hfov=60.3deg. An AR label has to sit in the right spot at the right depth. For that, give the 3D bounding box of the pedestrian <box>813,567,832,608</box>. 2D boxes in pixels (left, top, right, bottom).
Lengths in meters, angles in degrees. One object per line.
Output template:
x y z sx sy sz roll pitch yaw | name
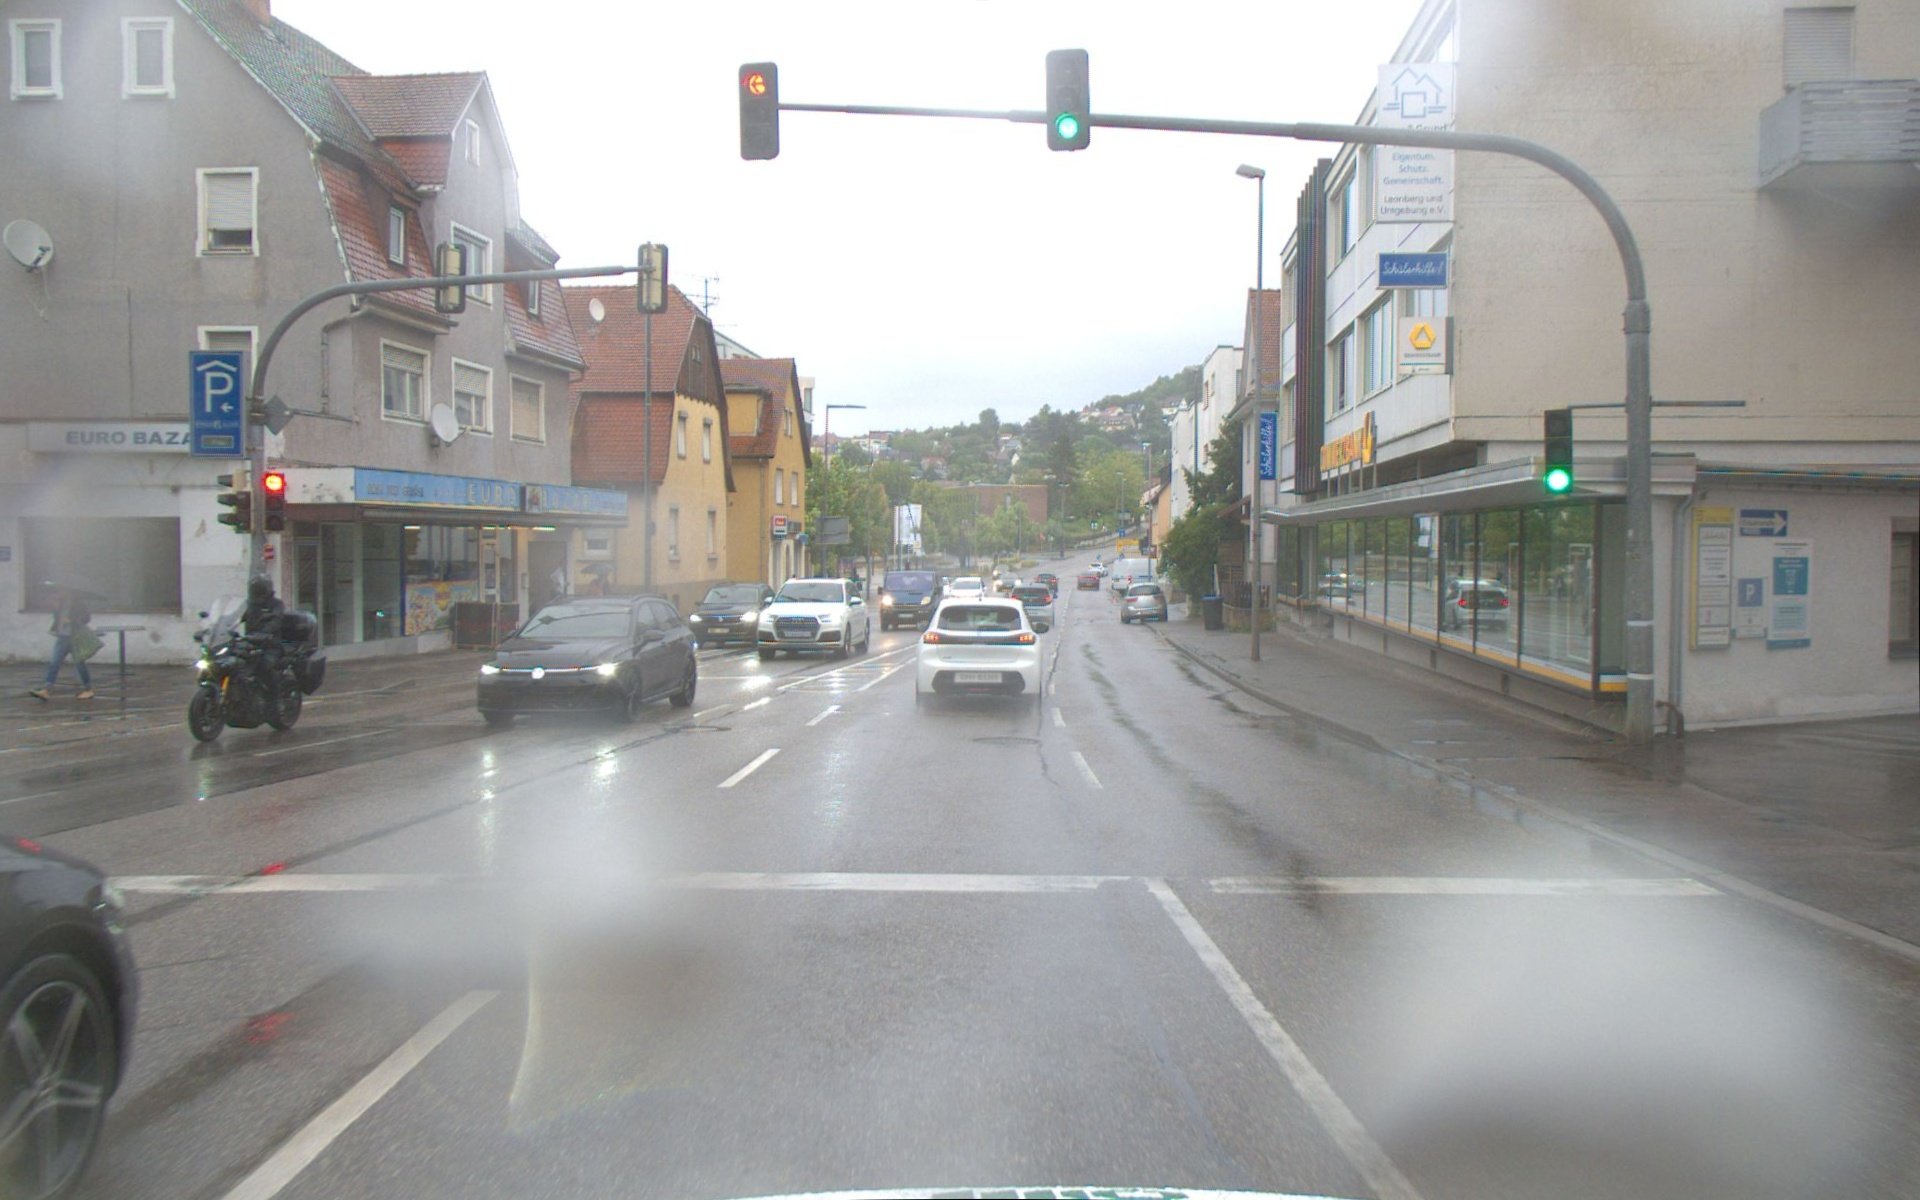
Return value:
-6.202 -0.568 74.734 0.784 1.819 0.882 0 0 -1 | pedestrian

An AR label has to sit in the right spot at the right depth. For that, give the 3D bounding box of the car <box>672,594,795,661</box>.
-5.830 0.683 43.214 1.958 1.646 4.952 0 0 7 | car

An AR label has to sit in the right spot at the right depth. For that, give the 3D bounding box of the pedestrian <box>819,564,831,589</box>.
-9.671 -1.676 118.357 0.792 1.768 1.002 0 0 -3 | pedestrian

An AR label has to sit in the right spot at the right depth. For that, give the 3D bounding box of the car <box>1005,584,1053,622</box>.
2.506 0.094 60.275 1.705 1.318 3.335 0 1 2 | car

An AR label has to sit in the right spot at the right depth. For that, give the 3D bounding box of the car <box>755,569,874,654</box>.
-3.156 0.245 36.798 2.055 1.742 4.850 0 0 2 | car

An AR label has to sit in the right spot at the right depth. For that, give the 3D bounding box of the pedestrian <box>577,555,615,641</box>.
-8.519 -0.048 38.737 0.648 1.954 0.946 2 0 -4 | pedestrian

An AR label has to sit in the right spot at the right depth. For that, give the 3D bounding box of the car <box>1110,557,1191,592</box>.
13.824 -1.801 119.784 6.576 2.423 2.261 0 0 -45 | car

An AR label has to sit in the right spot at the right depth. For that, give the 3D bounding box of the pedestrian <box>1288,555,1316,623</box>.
9.199 -0.307 44.453 0.714 1.811 0.954 1 2 12 | pedestrian

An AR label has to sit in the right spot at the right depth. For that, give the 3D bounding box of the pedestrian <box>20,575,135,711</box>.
-12.208 0.580 22.920 0.906 1.820 1.234 0 0 2 | pedestrian

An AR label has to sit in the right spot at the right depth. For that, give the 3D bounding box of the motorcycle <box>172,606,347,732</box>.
-7.717 0.728 18.350 0.888 1.306 2.186 0 0 4 | motorcycle

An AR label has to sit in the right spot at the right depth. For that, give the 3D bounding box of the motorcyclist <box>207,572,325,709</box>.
-7.719 0.440 18.440 0.768 1.482 1.140 0 0 4 | motorcyclist

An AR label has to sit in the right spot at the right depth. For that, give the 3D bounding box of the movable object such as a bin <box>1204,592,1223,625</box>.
8.439 0.272 55.078 0.563 1.066 0.831 -1 2 4 | movable object such as a bin

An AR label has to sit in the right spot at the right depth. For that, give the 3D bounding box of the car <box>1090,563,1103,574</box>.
15.226 -3.546 184.756 1.356 1.146 2.611 0 0 4 | car

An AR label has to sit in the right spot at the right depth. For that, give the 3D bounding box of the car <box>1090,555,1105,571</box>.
18.170 -4.918 219.270 1.951 2.049 4.002 0 0 4 | car

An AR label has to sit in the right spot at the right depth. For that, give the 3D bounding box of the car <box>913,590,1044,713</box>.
0.313 0.665 22.958 1.655 1.546 3.934 0 0 2 | car

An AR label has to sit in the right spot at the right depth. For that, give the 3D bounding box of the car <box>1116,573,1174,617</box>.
7.459 -0.166 67.099 1.970 1.650 4.361 1 -1 2 | car

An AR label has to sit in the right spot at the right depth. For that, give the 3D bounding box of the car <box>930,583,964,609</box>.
-0.774 -0.209 98.926 1.614 1.442 4.141 -2 0 5 | car

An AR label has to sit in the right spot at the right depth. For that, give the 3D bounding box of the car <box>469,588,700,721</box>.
-4.494 0.610 20.447 1.722 1.459 4.381 0 0 2 | car

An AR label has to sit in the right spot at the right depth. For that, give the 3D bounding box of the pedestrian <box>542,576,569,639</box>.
-10.227 0.193 41.836 0.531 1.584 0.446 0 0 4 | pedestrian

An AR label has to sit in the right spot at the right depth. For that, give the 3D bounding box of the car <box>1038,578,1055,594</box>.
6.531 -1.029 125.171 1.187 1.176 2.271 0 0 2 | car

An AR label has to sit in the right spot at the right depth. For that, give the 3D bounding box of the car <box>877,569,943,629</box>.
-1.670 -0.029 56.659 1.925 1.972 5.181 0 0 2 | car

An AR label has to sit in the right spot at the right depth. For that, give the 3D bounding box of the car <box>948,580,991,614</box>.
0.477 -0.147 80.943 1.839 1.637 4.721 0 0 4 | car

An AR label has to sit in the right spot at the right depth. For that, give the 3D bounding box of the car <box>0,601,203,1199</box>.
-2.900 0.743 2.555 1.681 1.475 4.196 0 0 -2 | car

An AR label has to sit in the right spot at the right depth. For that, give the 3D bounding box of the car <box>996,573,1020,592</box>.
3.770 -1.333 128.762 1.731 1.438 4.528 0 0 3 | car

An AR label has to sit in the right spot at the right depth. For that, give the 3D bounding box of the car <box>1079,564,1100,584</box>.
10.887 -2.202 139.386 1.698 1.411 3.355 1 5 3 | car
